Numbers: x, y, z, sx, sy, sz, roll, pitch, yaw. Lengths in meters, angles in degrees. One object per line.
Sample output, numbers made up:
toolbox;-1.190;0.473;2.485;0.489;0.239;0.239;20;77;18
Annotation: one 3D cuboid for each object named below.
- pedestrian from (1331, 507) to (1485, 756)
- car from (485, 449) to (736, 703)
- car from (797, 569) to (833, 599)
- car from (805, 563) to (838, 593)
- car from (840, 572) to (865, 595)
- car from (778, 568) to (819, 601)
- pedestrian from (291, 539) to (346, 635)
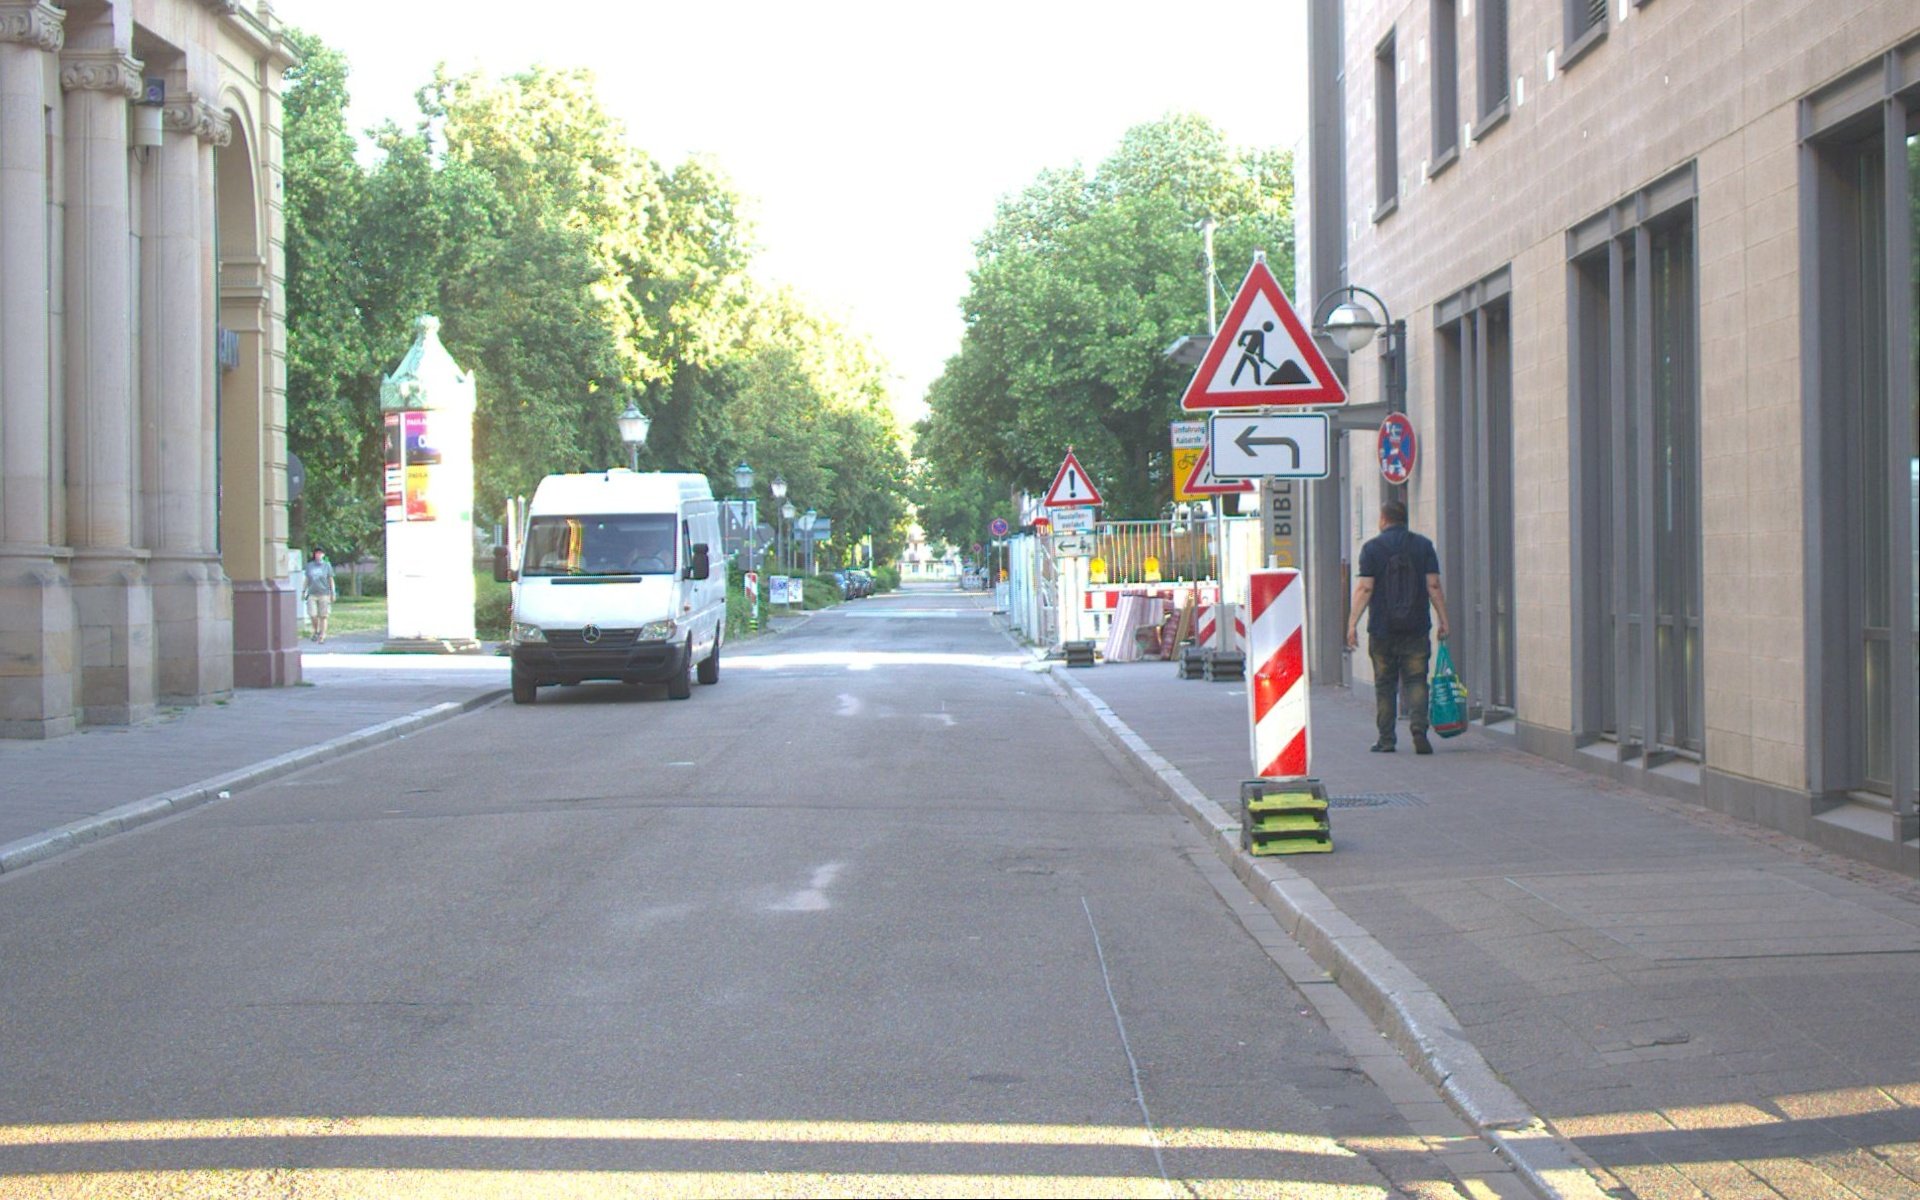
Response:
pedestrian;3.140;0.209;24.169;0.923;1.696;0.868;-2;1;-1
car;-3.838;-0.302;38.934;1.996;2.503;6.470;-4;1;0
car;-6.270;-0.693;148.678;1.468;1.251;3.679;0;1;-1
car;-6.516;-1.036;161.761;1.468;1.399;3.679;0;1;-1
car;-6.755;-1.031;216.397;1.468;1.399;3.679;0;1;-1
car;-6.395;-0.624;136.387;1.468;1.251;3.679;0;1;-1
pedestrian;-11.545;-0.238;61.887;0.746;1.696;0.702;-1;1;7
